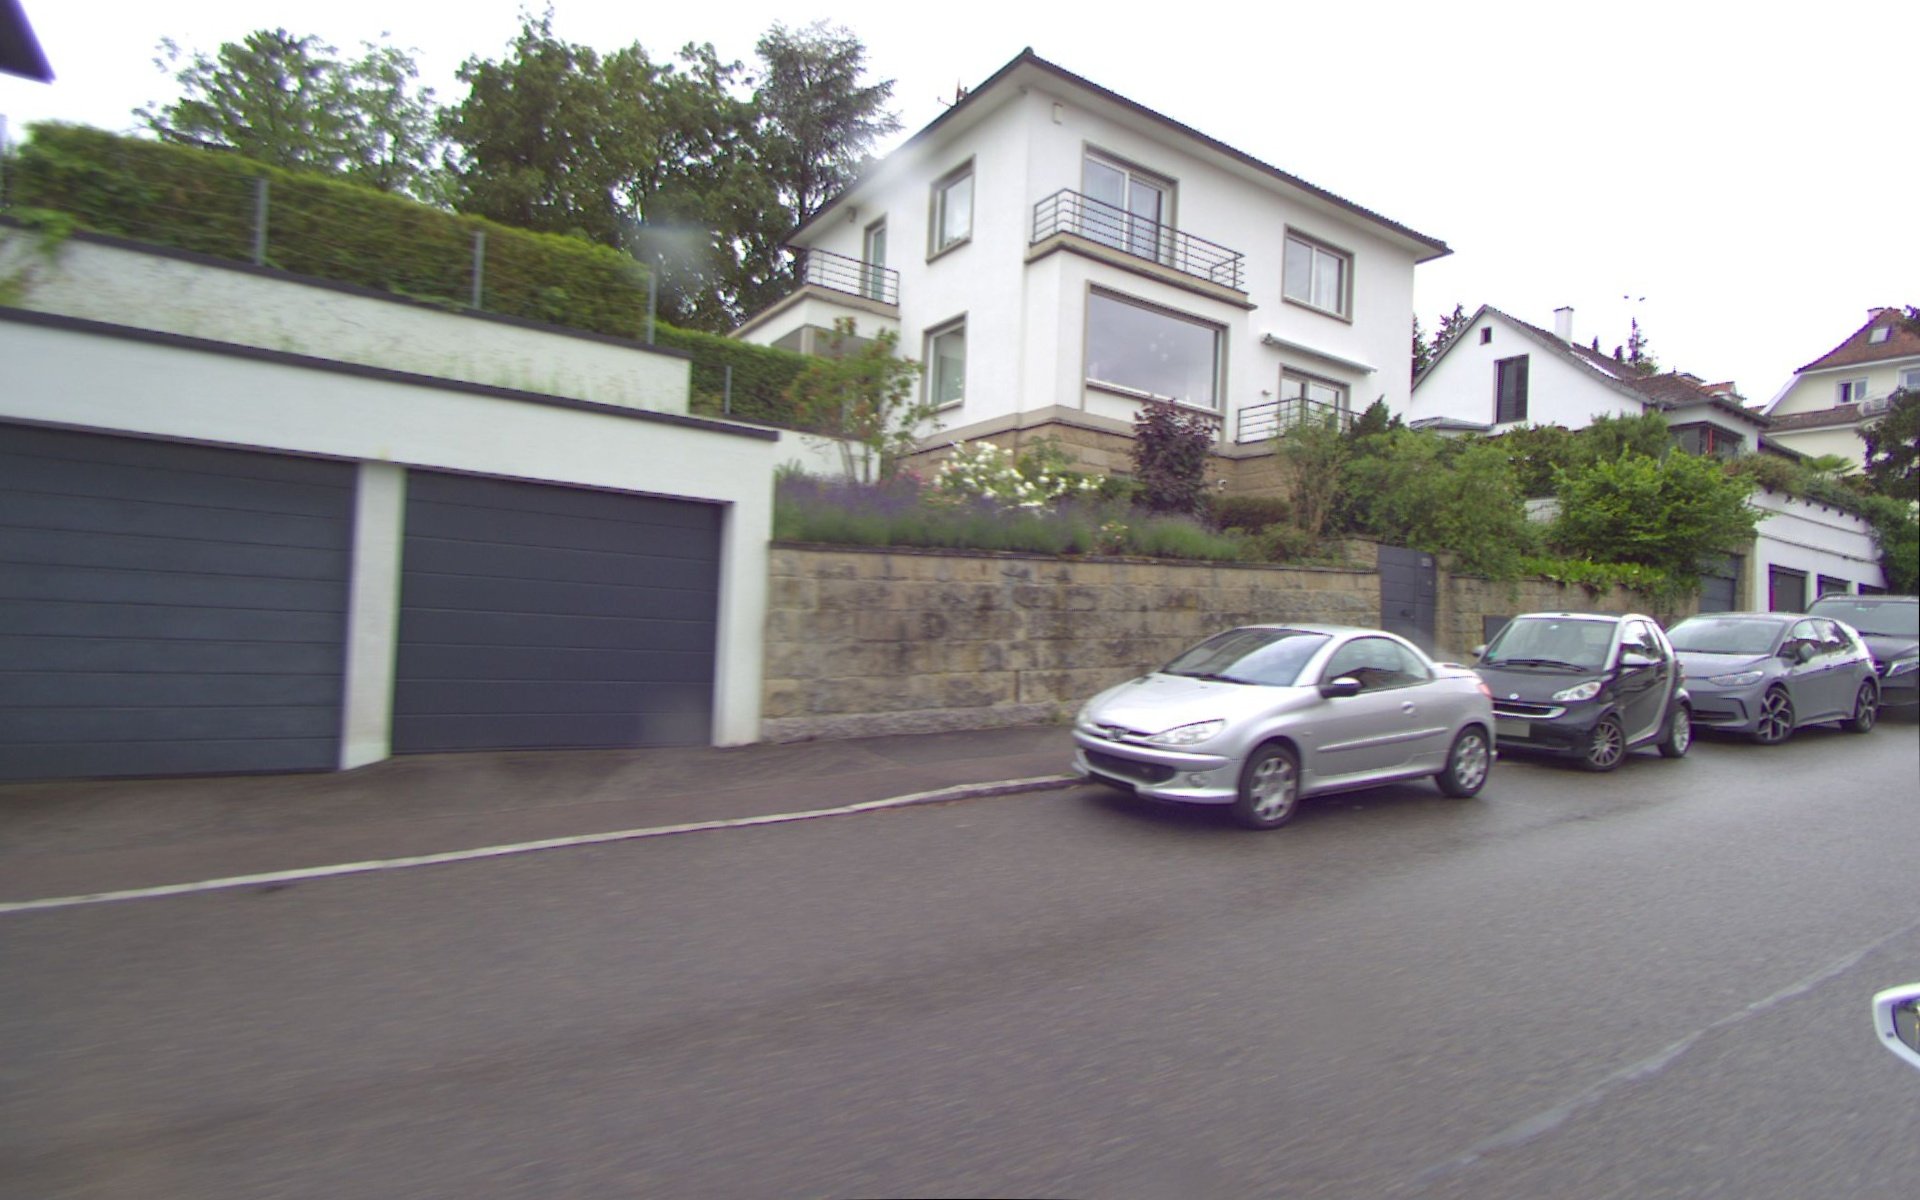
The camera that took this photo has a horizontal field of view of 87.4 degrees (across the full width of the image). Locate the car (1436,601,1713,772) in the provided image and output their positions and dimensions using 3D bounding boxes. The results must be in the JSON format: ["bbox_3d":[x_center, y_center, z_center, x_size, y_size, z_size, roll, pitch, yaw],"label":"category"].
[{"bbox_3d":[6.658,0.821,10.806,3.130,1.544,1.486,1,1,-37],"label":"car"}]

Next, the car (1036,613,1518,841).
[{"bbox_3d":[2.614,0.837,8.007,3.800,1.355,1.600,1,1,-33],"label":"car"}]

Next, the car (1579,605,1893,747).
[{"bbox_3d":[10.298,0.905,13.264,4.294,1.535,1.887,1,1,-32],"label":"car"}]

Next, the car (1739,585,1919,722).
[{"bbox_3d":[15.093,0.790,16.560,5.541,1.885,2.114,1,1,-37],"label":"car"}]
